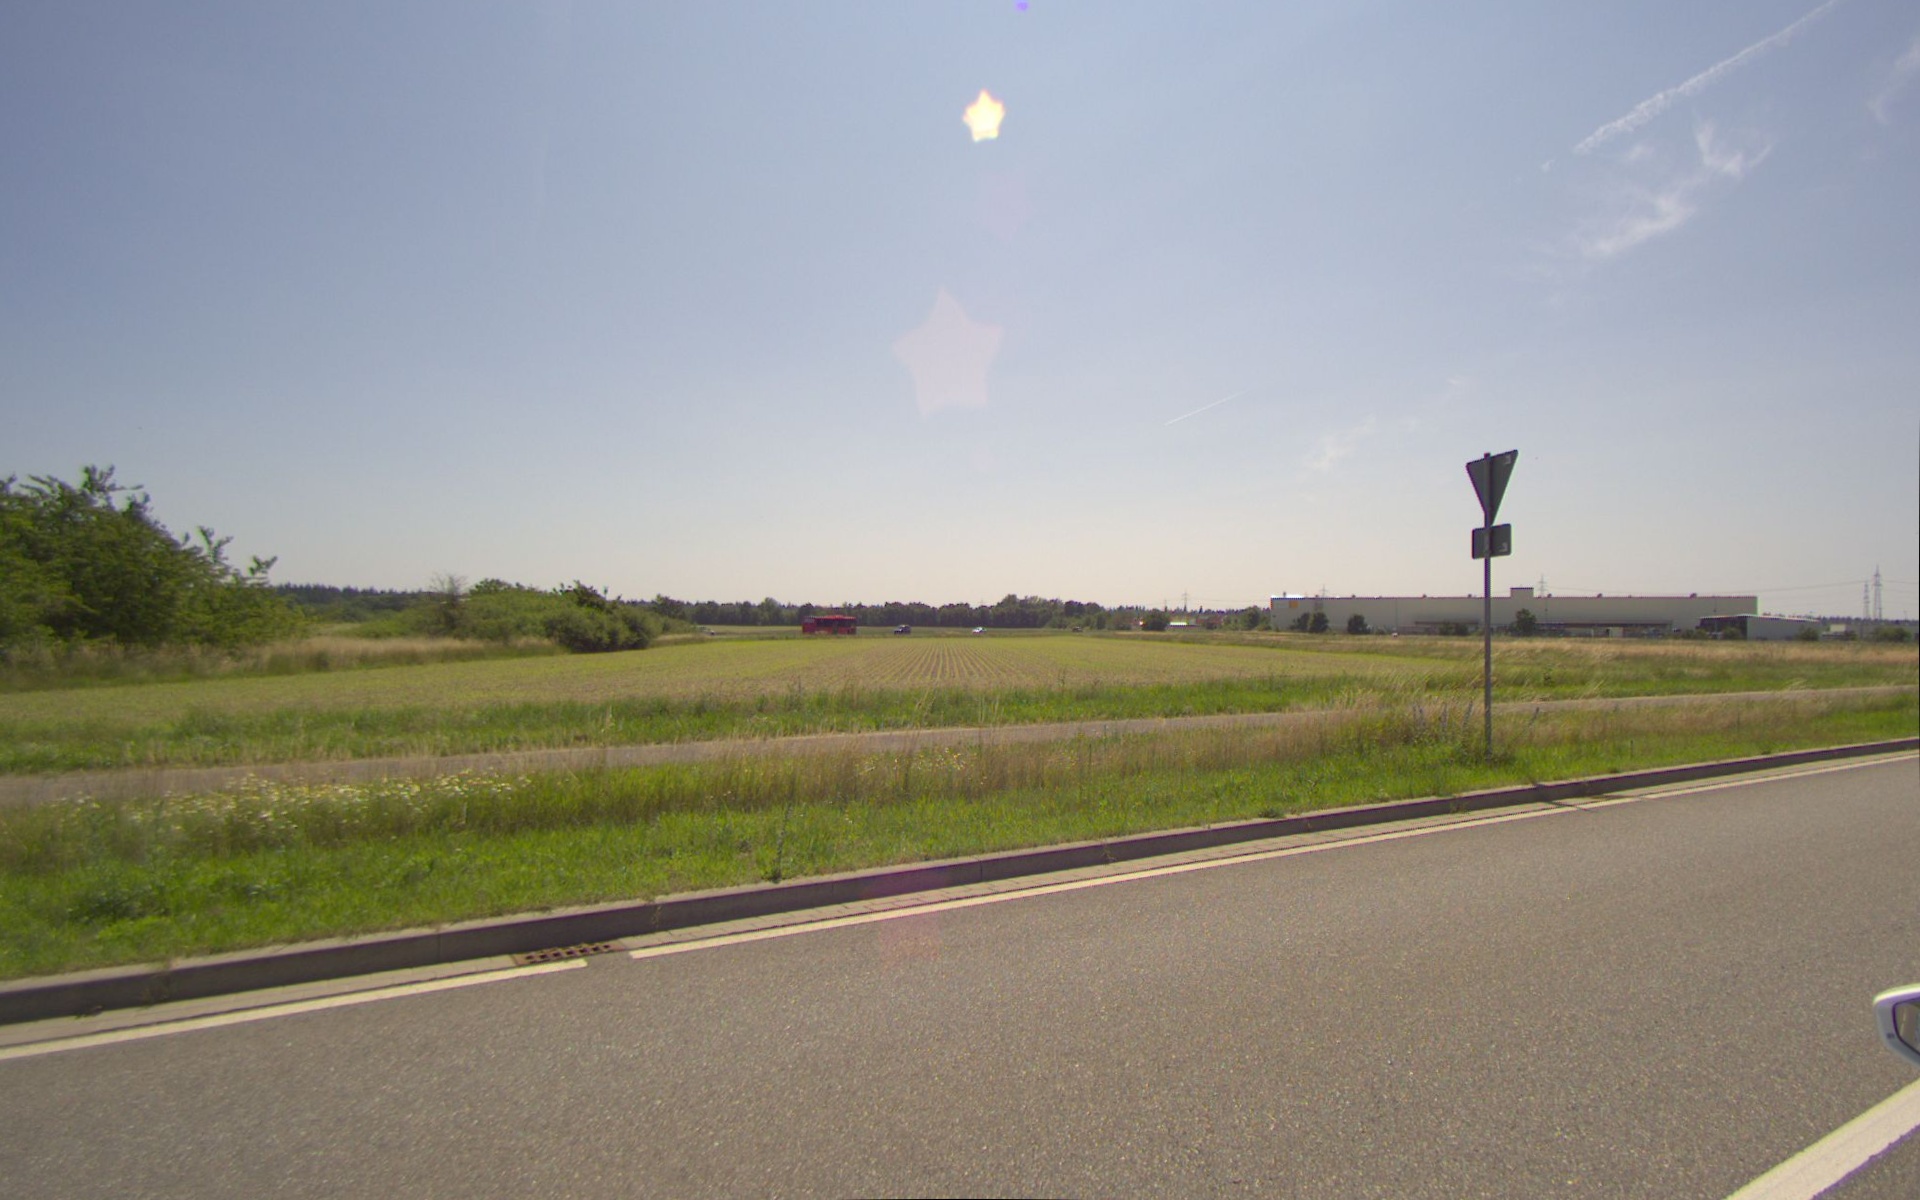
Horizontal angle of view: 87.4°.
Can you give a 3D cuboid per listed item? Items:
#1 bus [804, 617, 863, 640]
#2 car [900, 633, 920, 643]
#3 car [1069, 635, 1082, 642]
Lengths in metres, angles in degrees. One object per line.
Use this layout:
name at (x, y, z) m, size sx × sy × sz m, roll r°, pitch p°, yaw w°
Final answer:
bus at (-19.646, 4.462, 157.053) m, size 3.251 × 3.352 × 11.982 m, roll 0°, pitch -2°, yaw 25°
car at (-9.218, 6.998, 185.455) m, size 1.963 × 1.795 × 3.995 m, roll -1°, pitch -2°, yaw 27°
car at (30.045, 9.911, 261.240) m, size 1.963 × 1.795 × 3.995 m, roll -1°, pitch -2°, yaw 27°
